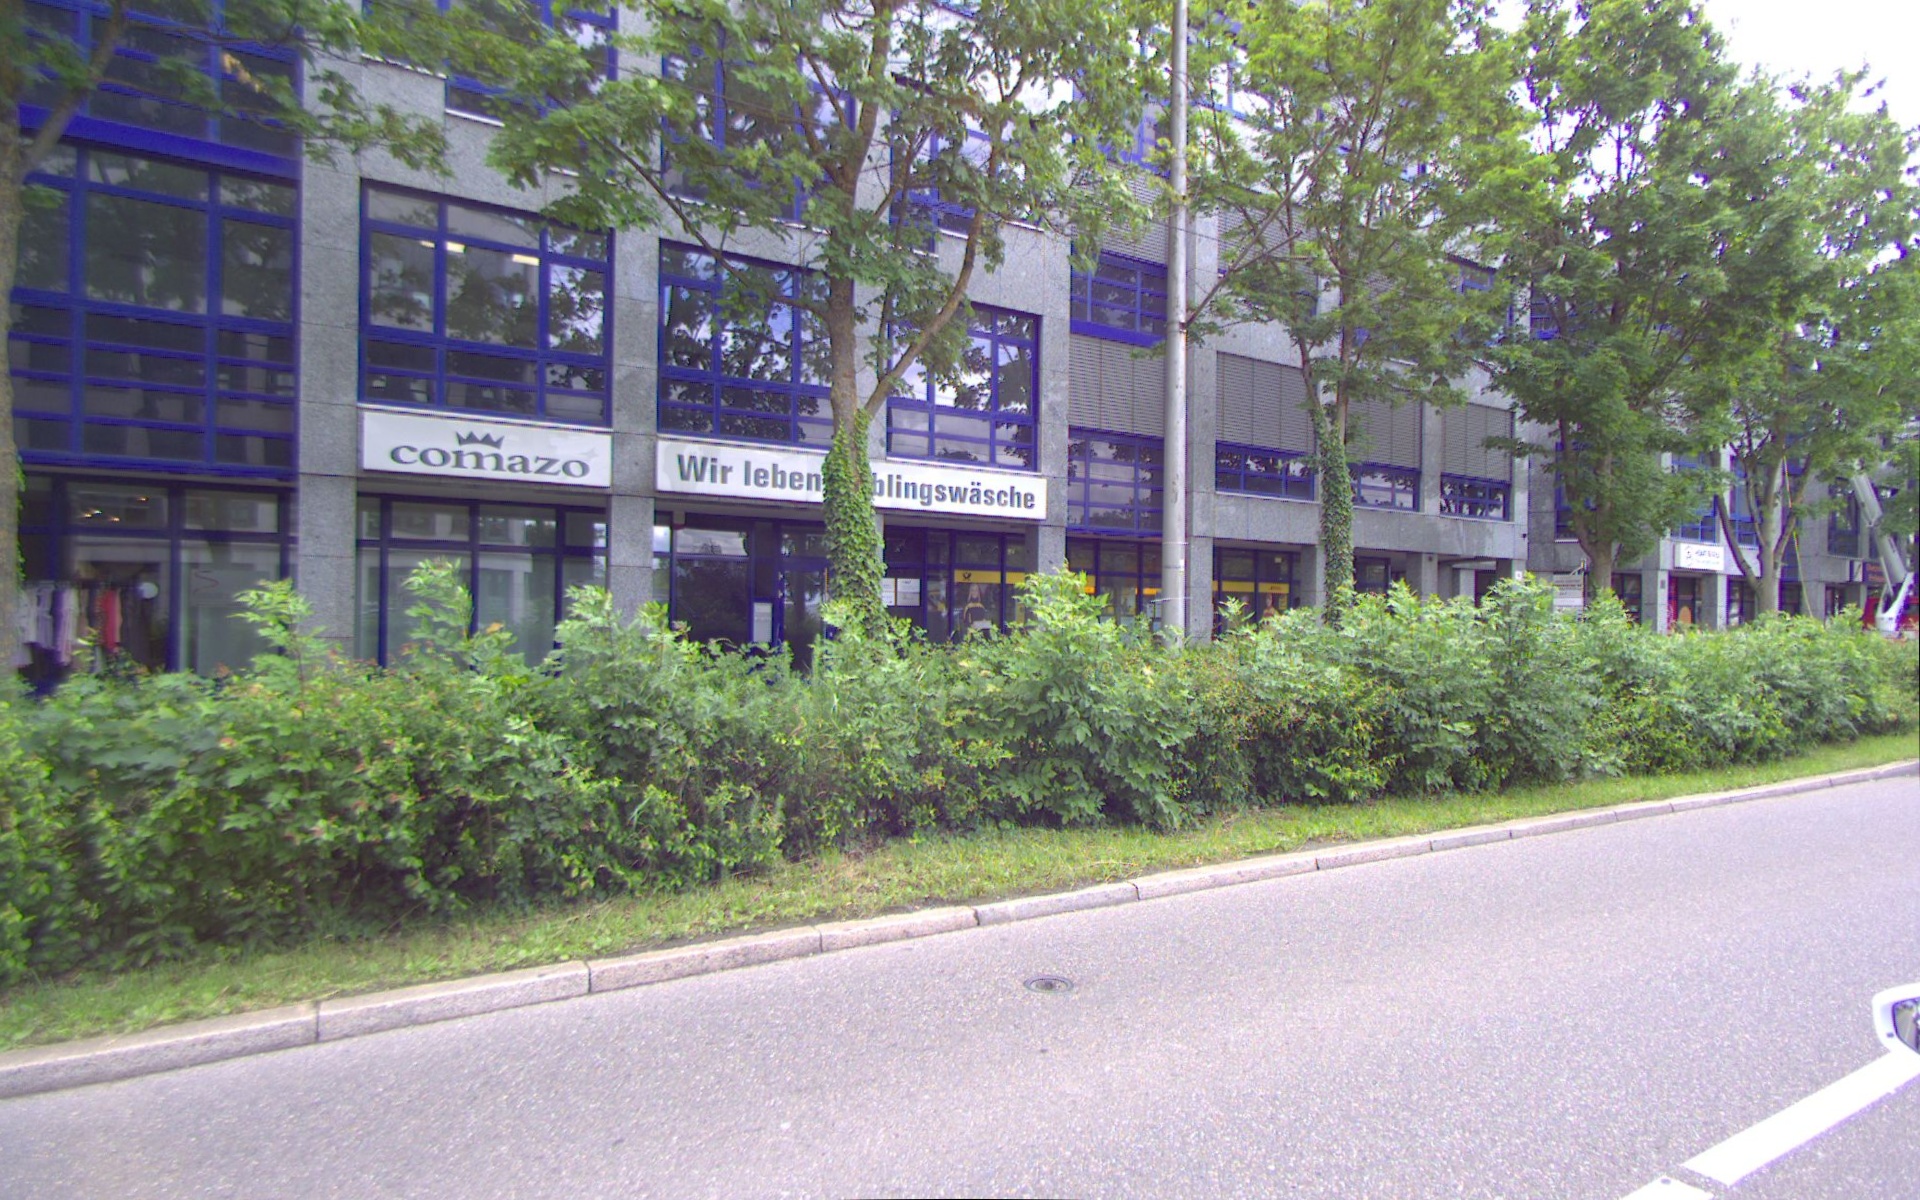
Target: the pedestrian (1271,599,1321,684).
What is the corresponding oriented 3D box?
[{"bbox_3d":[7.723,0.938,23.132,0.723,1.919,0.771,2,0,-30],"label":"pedestrian"}]
